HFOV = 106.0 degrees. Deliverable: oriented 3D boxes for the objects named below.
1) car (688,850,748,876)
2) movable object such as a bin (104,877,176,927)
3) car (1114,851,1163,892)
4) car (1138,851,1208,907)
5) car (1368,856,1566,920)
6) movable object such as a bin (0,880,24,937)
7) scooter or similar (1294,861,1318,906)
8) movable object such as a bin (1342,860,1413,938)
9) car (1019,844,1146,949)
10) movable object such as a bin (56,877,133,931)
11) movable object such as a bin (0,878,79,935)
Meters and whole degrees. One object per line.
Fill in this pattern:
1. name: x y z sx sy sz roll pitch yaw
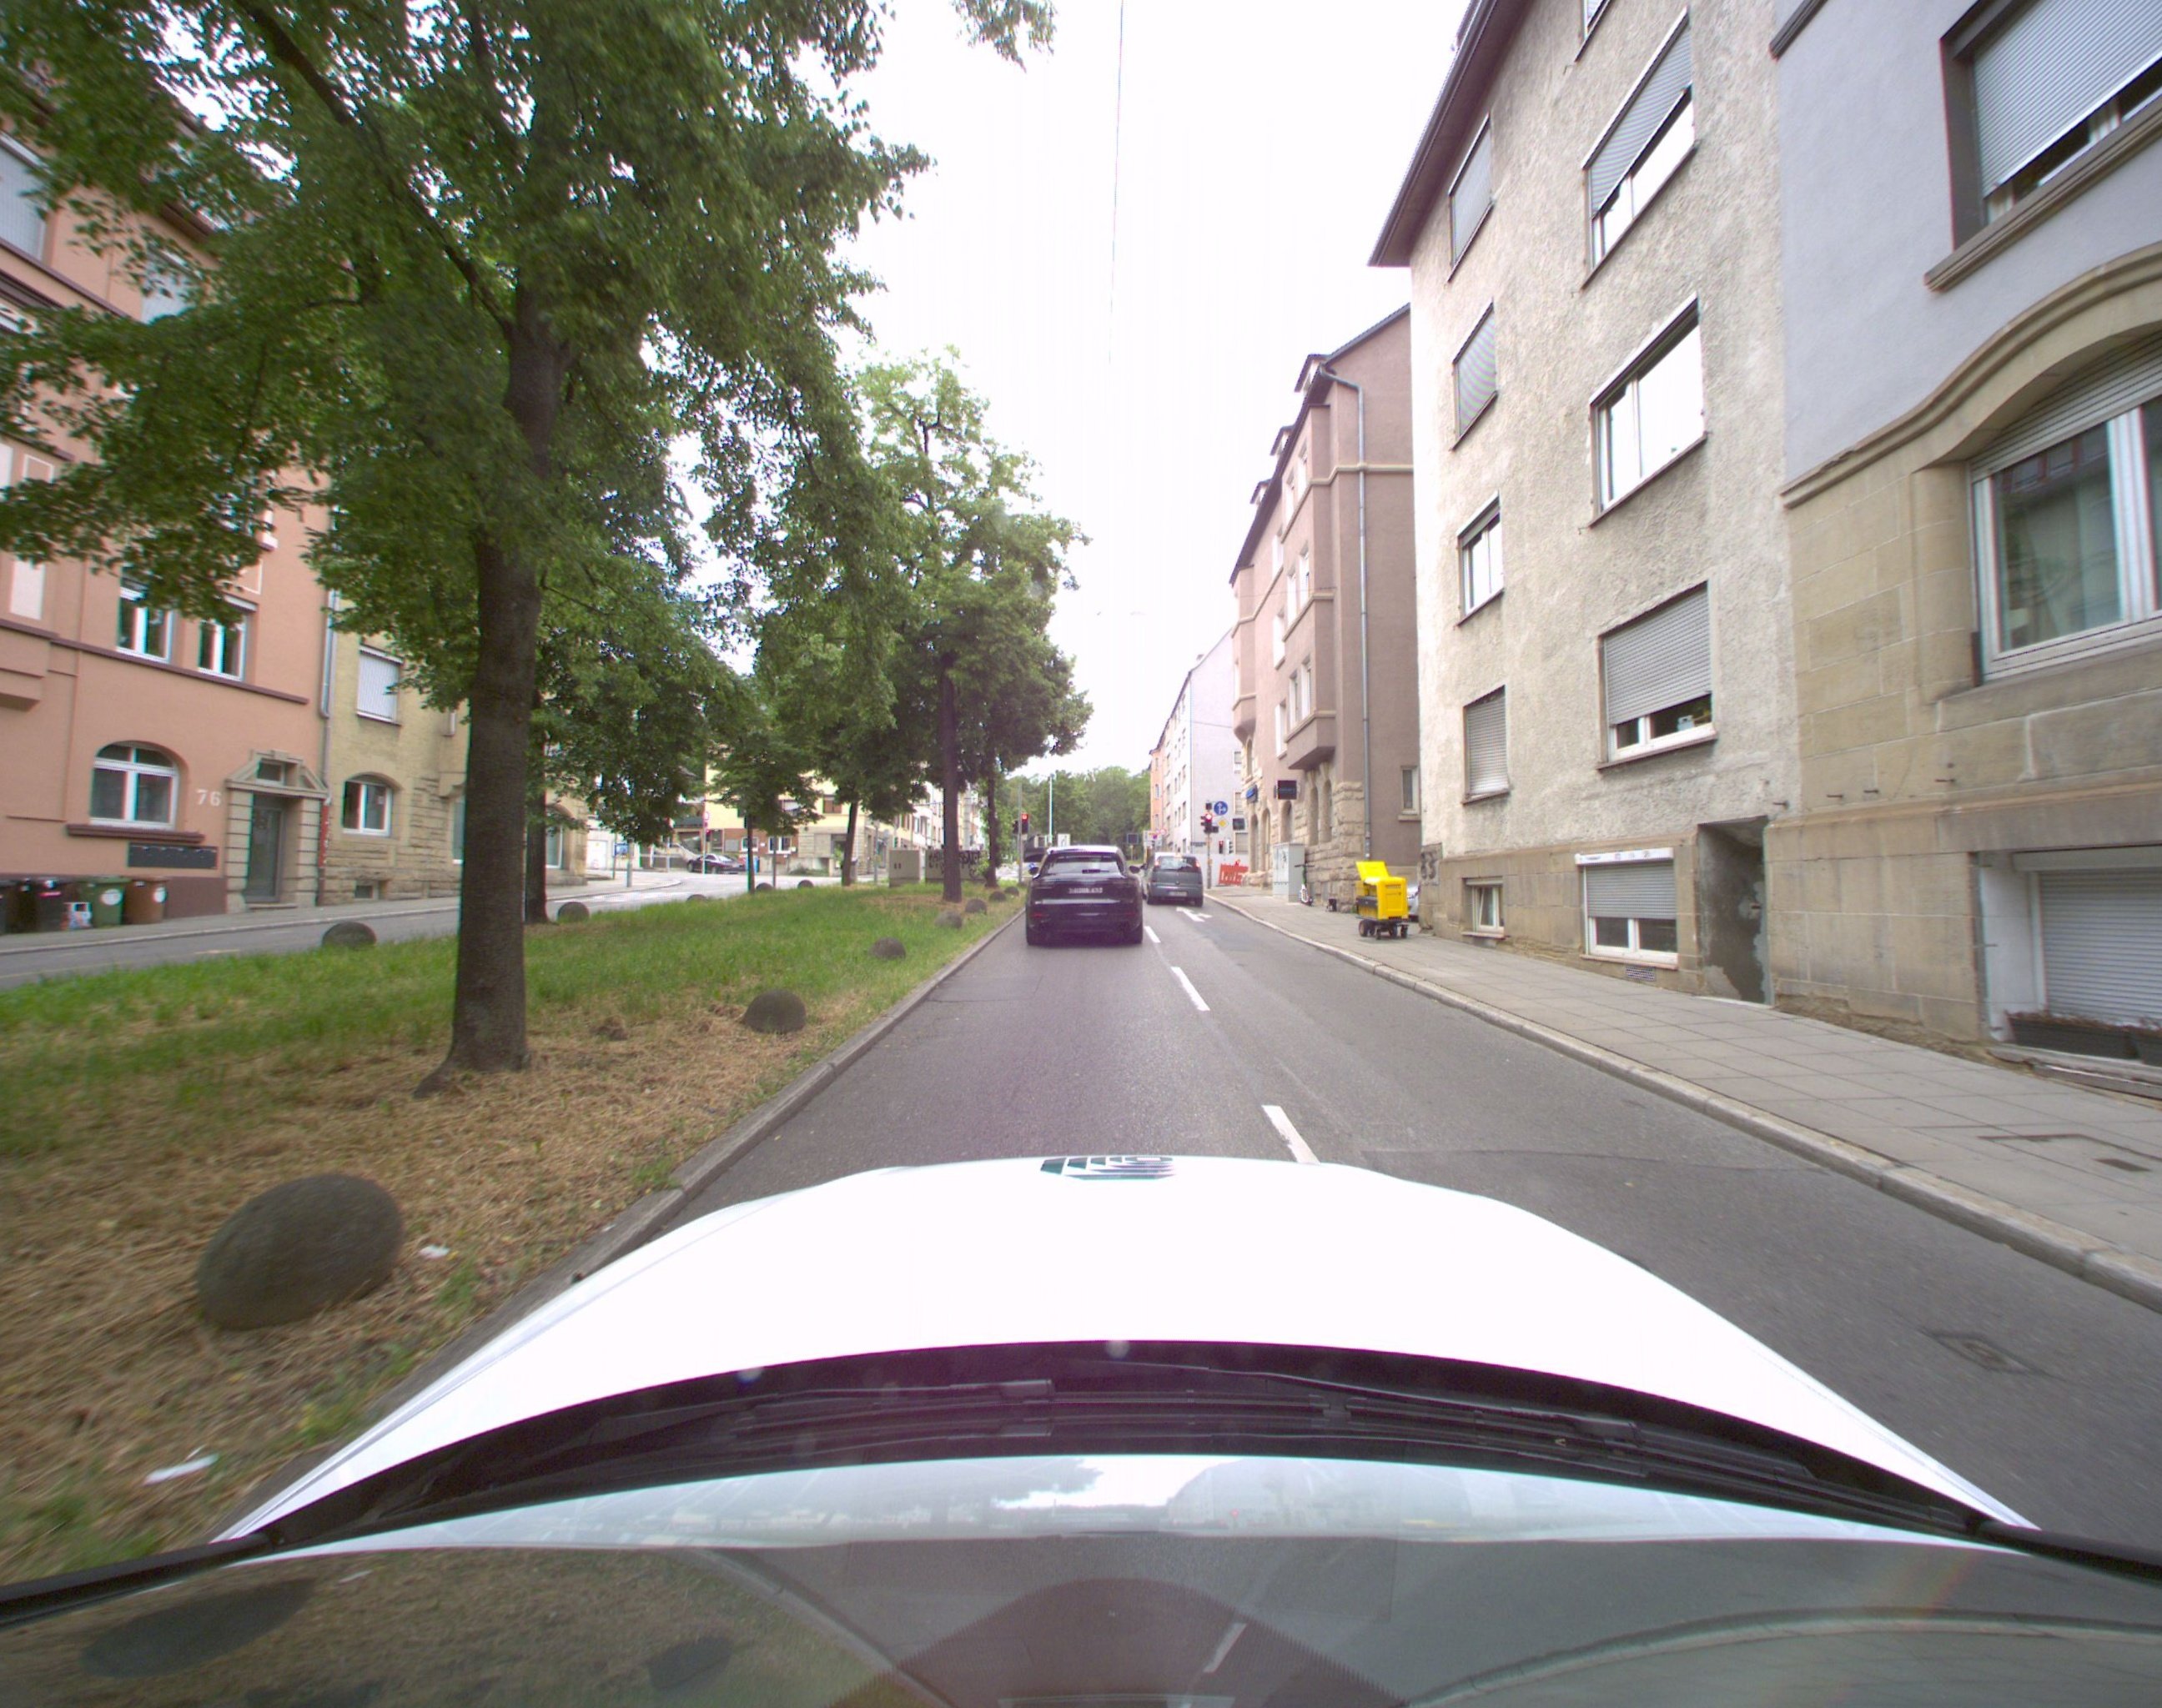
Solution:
1. car: -24.754 0.629 55.461 3.948 1.665 1.894 -1 -2 34
2. movable object such as a bin: -17.595 0.891 15.243 0.607 0.904 0.601 1 0 -3
3. car: 2.454 0.744 35.599 1.987 1.653 4.002 -1 -1 2
4. car: 2.826 0.726 25.759 1.747 1.593 3.630 2 0 0
5. car: 9.283 0.788 19.823 3.973 1.403 1.801 0 2 1
6. movable object such as a bin: -17.669 0.872 13.066 0.607 0.904 0.601 1 0 -3
7. scooter or similar: 6.409 0.834 23.272 0.399 1.188 1.356 -1 1 5
8. movable object such as a bin: 5.749 0.842 15.886 0.717 1.421 1.692 -1 -1 -1
9. car: 0.092 0.656 14.941 1.987 1.653 4.002 -1 1 2
10. movable object such as a bin: -17.626 0.885 14.562 0.607 0.904 0.601 1 0 -3
11. movable object such as a bin: -17.657 0.878 13.780 0.607 0.904 0.601 1 0 -3
